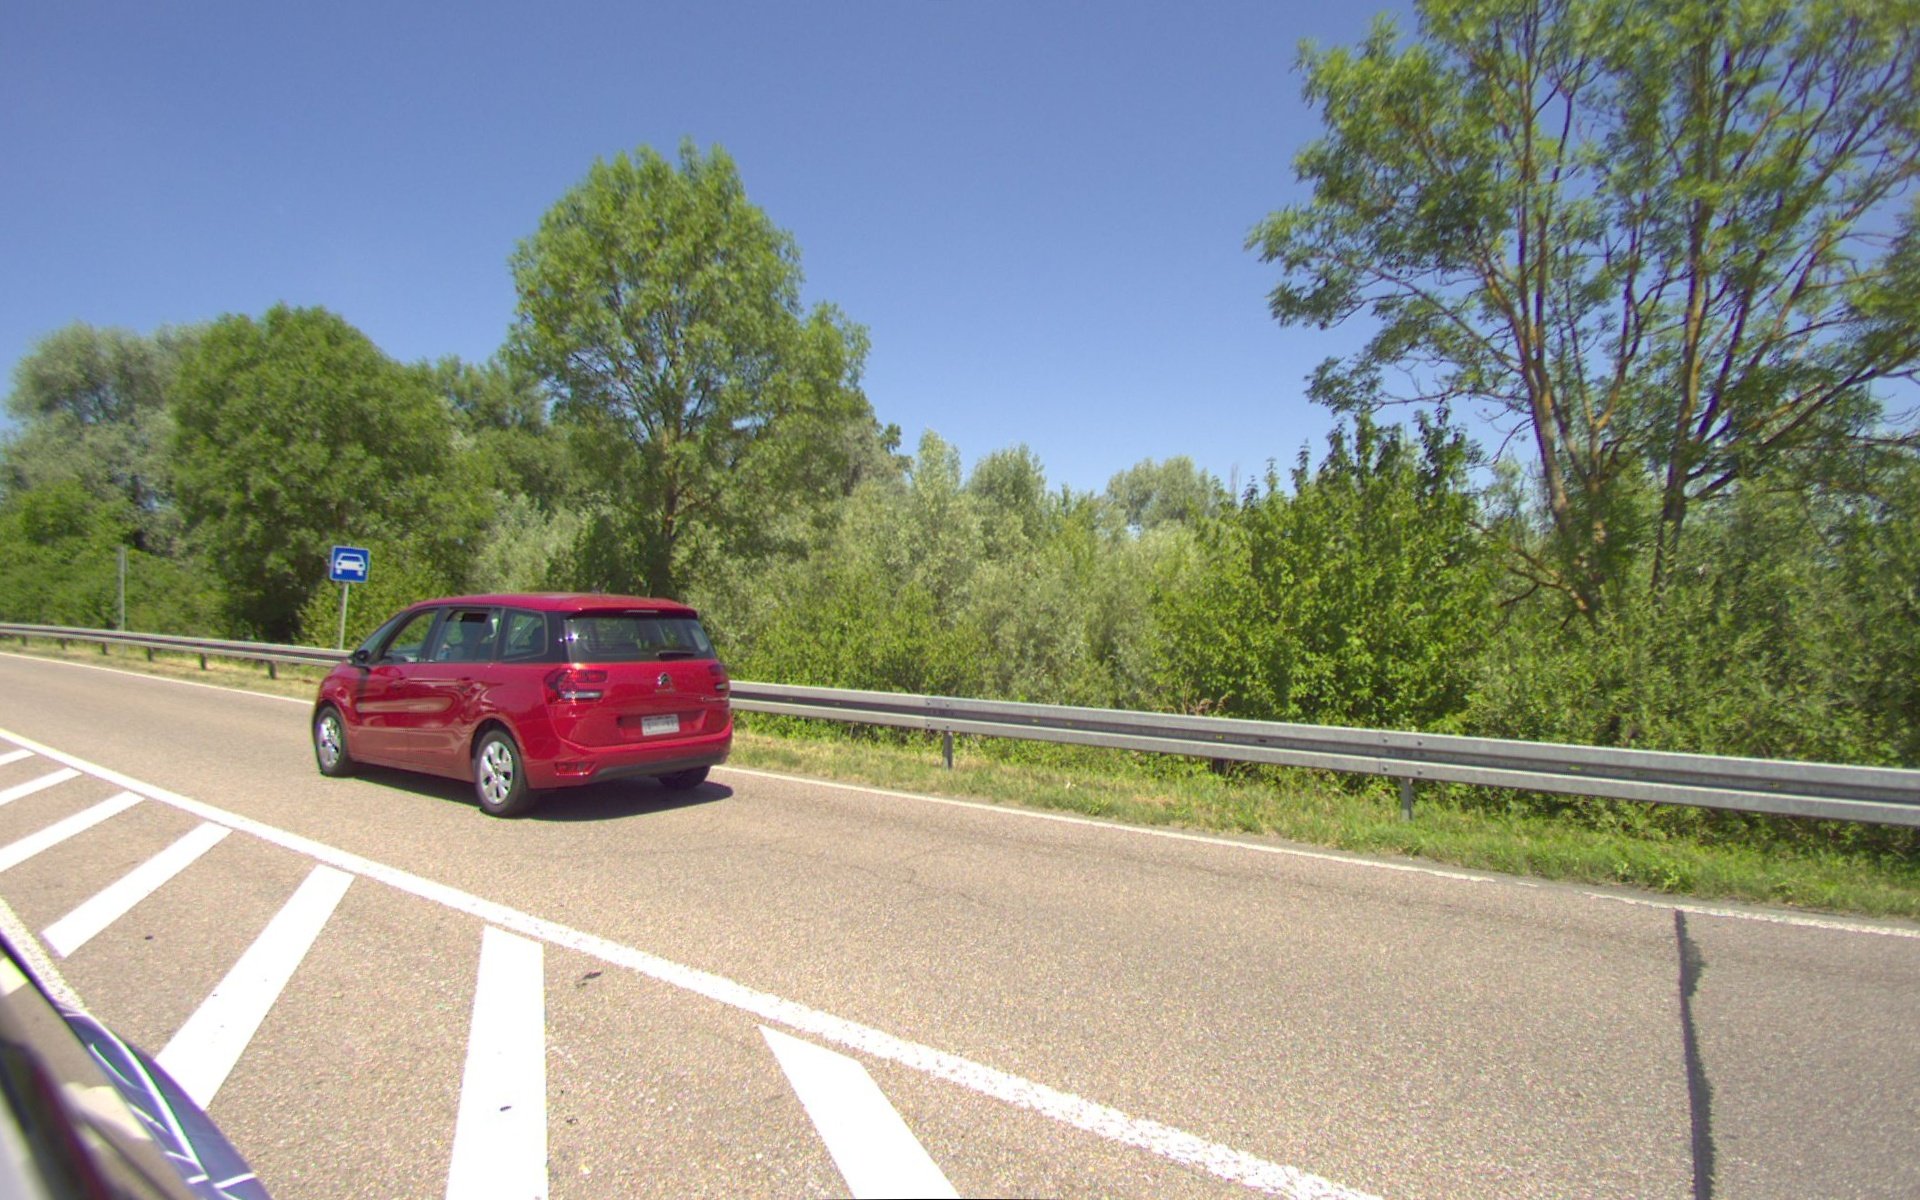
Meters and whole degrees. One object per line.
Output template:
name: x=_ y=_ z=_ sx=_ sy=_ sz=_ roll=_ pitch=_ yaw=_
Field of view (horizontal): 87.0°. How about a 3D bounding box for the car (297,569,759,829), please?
car: x=-3.793 y=0.685 z=8.592 sx=4.202 sy=1.698 sz=1.720 roll=0 pitch=-2 yaw=37
